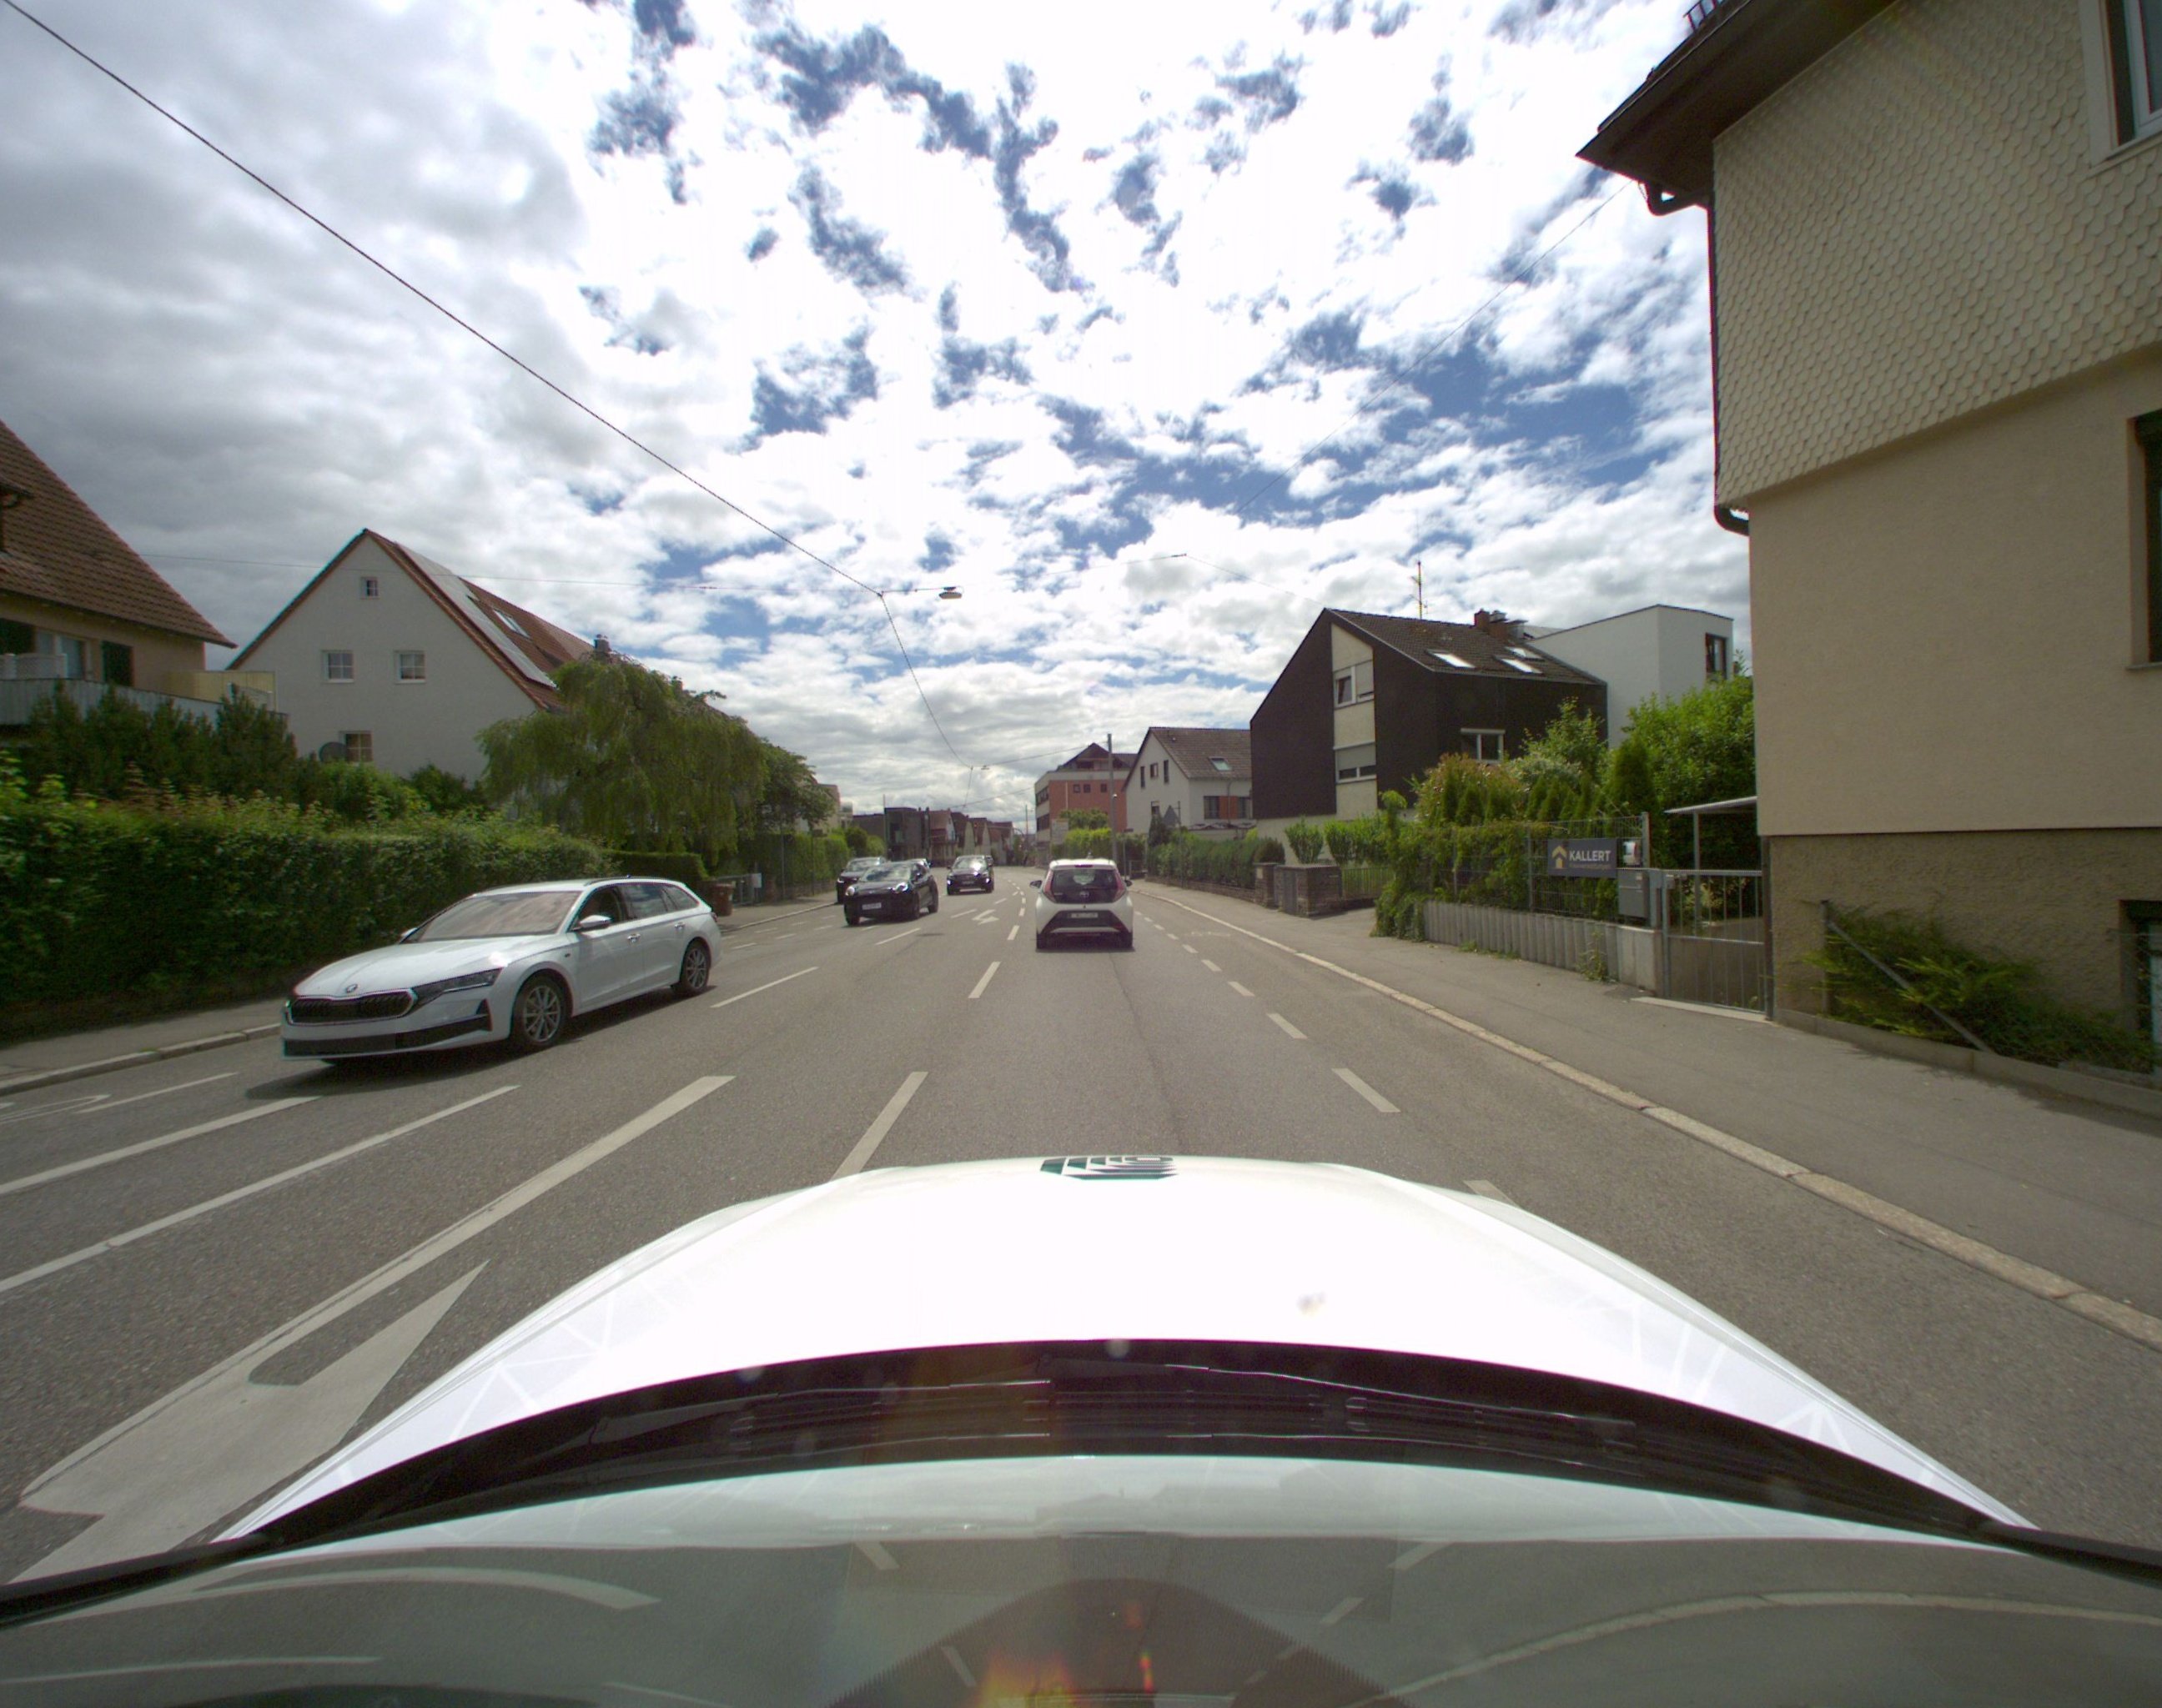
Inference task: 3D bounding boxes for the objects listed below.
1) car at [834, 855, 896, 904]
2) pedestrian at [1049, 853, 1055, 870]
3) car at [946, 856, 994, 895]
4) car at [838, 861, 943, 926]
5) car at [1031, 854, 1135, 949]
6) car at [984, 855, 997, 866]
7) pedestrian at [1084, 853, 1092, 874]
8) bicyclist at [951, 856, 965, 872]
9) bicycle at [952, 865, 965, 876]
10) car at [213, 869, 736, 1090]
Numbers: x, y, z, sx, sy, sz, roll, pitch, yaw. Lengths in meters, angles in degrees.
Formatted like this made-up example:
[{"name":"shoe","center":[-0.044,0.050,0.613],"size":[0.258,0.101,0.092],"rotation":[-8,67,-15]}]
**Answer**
[{"name":"car","center":[-8.934,1.014,33.986],"size":[1.772,1.846,4.001],"rotation":[-3,0,-5]},{"name":"pedestrian","center":[-2.528,0.676,71.245],"size":[0.413,1.438,0.437],"rotation":[-1,0,-7]},{"name":"car","center":[-4.841,0.906,36.016],"size":[1.772,1.552,4.002],"rotation":[-3,0,-5]},{"name":"car","center":[-4.999,0.987,21.879],"size":[1.769,1.430,4.008],"rotation":[-4,0,0]},{"name":"car","center":[-0.082,0.773,14.993],"size":[1.618,1.486,3.994],"rotation":[-1,0,-4]},{"name":"car","center":[-13.802,0.973,123.806],"size":[1.992,1.684,3.990],"rotation":[0,0,-7]},{"name":"pedestrian","center":[0.481,0.668,55.644],"size":[0.413,1.438,0.436],"rotation":[-1,0,-11]},{"name":"bicyclist","center":[-11.344,0.903,75.035],"size":[1.114,1.336,1.627],"rotation":[-4,0,-10]},{"name":"bicycle","center":[-11.324,1.485,75.121],"size":[1.114,0.937,3.775],"rotation":[-4,0,-10]},{"name":"car","center":[-5.462,0.971,8.310],"size":[1.768,1.430,4.523],"rotation":[-4,0,1]}]
